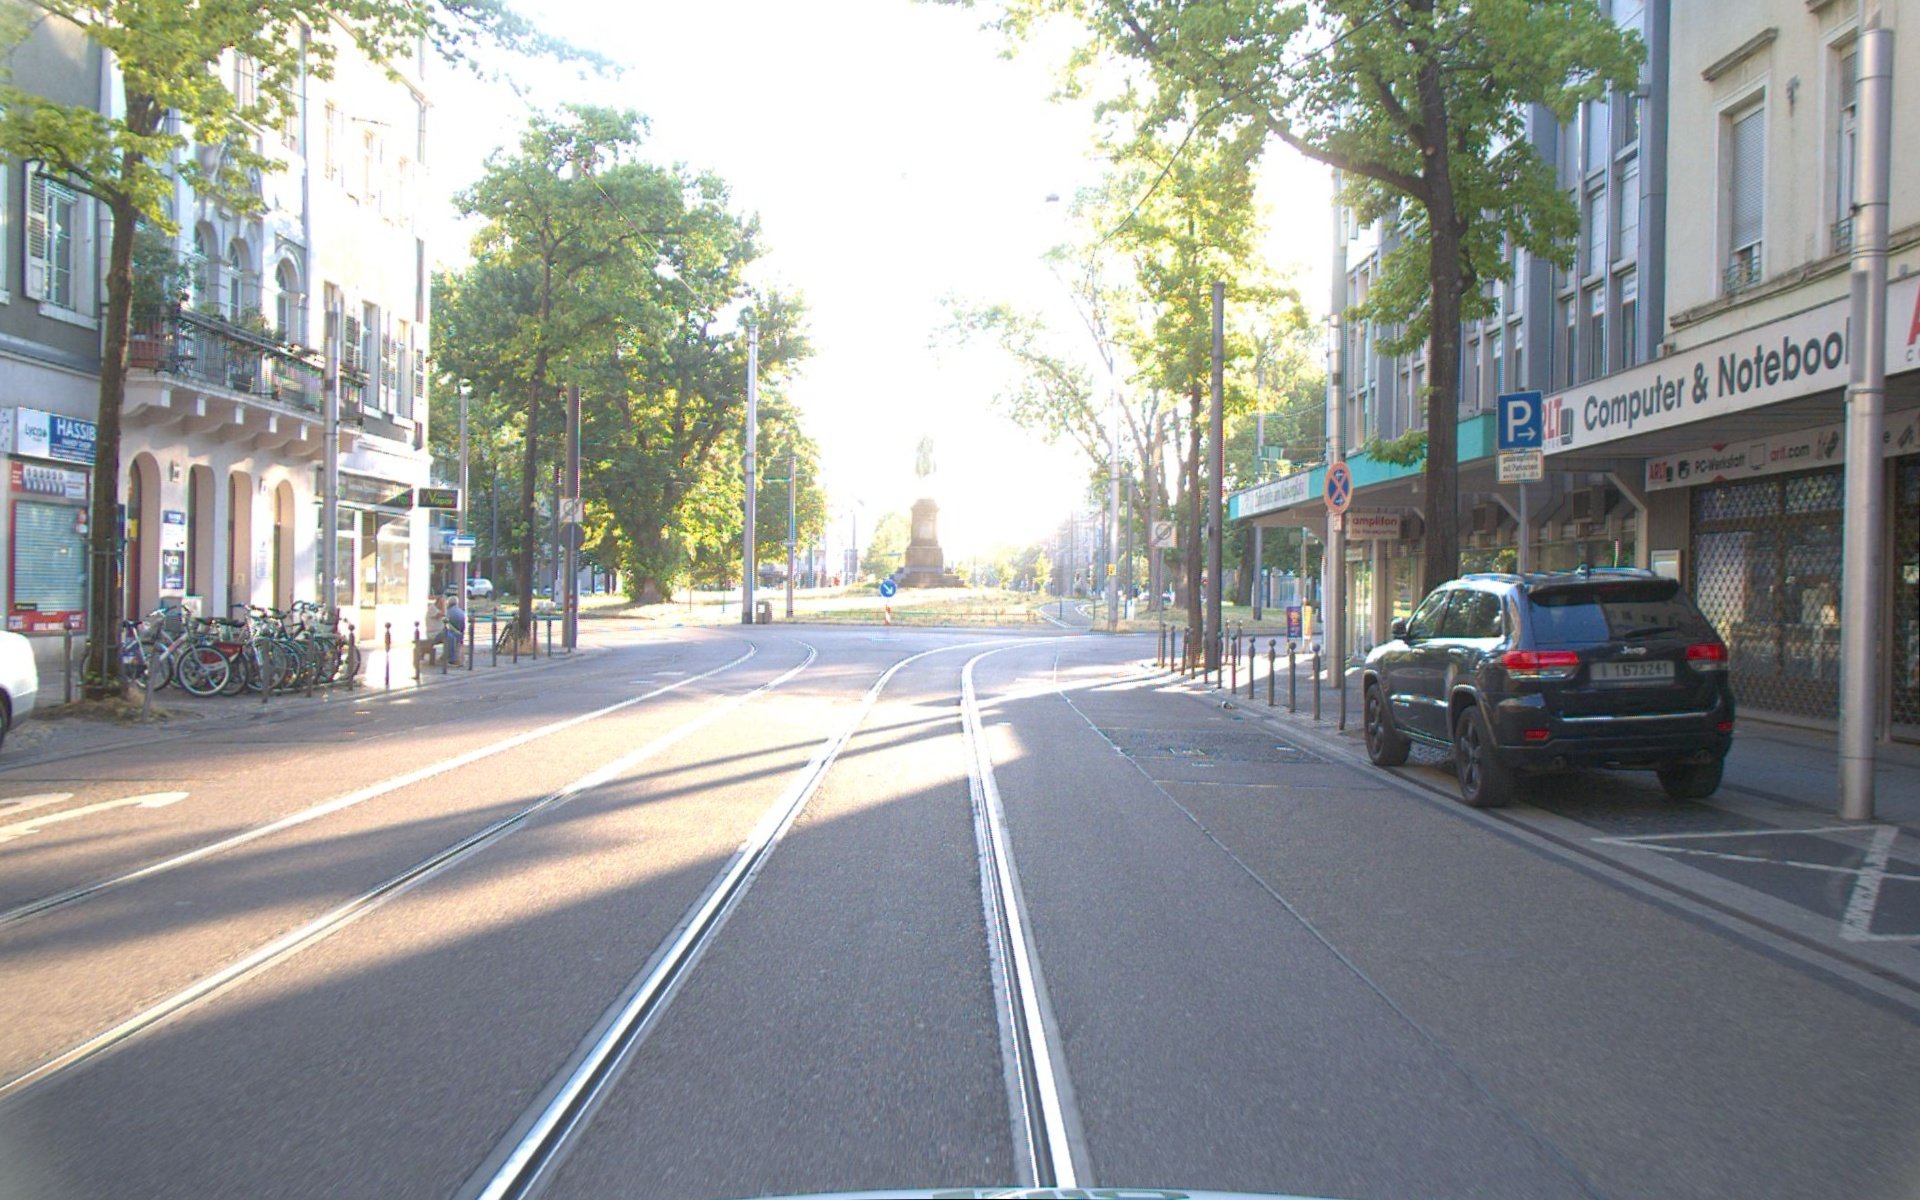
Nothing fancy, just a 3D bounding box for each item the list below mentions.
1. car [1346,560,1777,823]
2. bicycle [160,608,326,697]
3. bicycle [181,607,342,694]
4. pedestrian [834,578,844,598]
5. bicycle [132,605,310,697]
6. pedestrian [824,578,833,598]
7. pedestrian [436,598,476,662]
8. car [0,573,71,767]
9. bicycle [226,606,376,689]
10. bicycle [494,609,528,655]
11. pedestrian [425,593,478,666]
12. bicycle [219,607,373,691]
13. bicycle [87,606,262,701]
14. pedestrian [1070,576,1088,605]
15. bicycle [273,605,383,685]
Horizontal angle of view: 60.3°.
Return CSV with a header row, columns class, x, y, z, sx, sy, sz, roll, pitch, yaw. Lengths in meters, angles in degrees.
class,x,y,z,sx,sy,sz,roll,pitch,yaw
car,4.868,0.638,14.220,1.899,1.790,4.679,-3,0,-1
bicycle,-9.701,0.717,22.408,1.998,1.124,0.497,3,-1,-26
bicycle,-9.708,0.708,23.006,1.998,1.124,0.497,3,-1,-26
pedestrian,-10.092,-1.012,137.812,0.754,1.634,0.637,0,0,-7
bicycle,-9.708,0.678,21.781,2.082,1.124,0.497,3,-1,-26
pedestrian,-10.987,-1.023,138.159,0.754,1.634,0.637,0,0,-7
pedestrian,-9.864,0.580,32.407,0.579,1.214,0.641,1,0,-3
car,-8.998,0.552,12.607,1.799,1.607,4.702,4,0,0
bicycle,-9.740,0.694,24.472,1.981,1.124,0.501,2,-1,2
bicycle,-9.784,0.695,36.072,0.329,0.962,1.510,0,0,0
pedestrian,-9.451,0.541,30.772,0.713,1.313,0.856,1,0,-3
bicycle,-9.578,0.703,23.887,1.981,1.124,0.501,2,-1,2
bicycle,-9.898,0.683,20.900,1.921,1.124,0.563,3,-1,-26
pedestrian,6.642,-0.545,92.235,0.765,1.634,0.628,0,1,-42
bicycle,-9.700,0.683,25.344,1.989,1.124,0.499,2,-1,35
